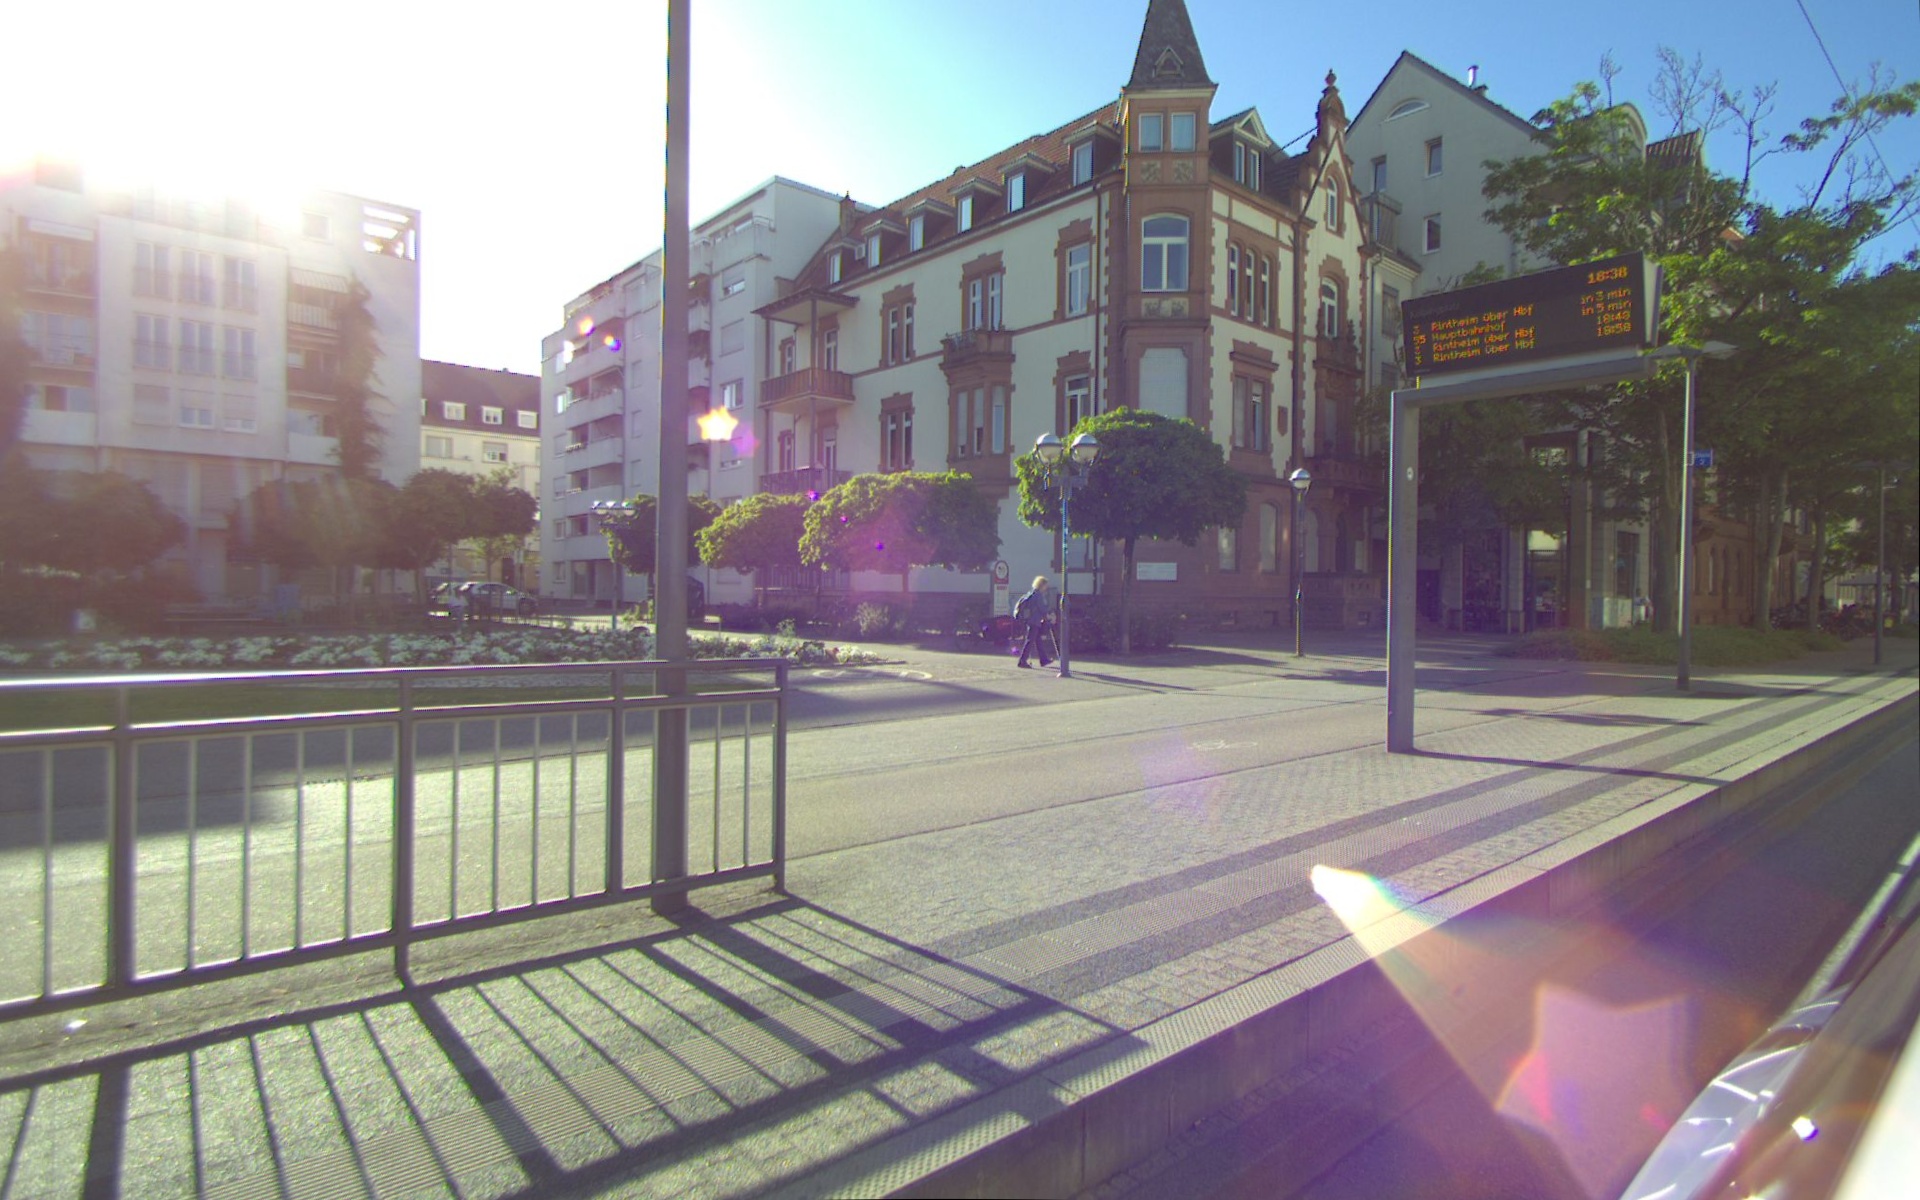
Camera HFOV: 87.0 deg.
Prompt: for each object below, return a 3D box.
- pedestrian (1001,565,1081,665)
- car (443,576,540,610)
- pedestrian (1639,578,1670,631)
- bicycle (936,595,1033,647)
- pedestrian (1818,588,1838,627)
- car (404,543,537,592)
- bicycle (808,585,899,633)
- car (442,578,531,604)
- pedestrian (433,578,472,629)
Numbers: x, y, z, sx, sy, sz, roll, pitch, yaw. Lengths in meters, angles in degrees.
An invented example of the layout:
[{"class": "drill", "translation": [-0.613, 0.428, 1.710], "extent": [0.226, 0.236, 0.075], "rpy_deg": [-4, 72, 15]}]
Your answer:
[{"class": "pedestrian", "translation": [1.429, 0.248, 17.805], "extent": [1.064, 1.689, 0.944], "rpy_deg": [1, 0, 37]}, {"class": "car", "translation": [-22.243, -0.346, 48.032], "extent": [3.923, 1.536, 2.001], "rpy_deg": [0, 1, -34]}, {"class": "pedestrian", "translation": [23.590, 0.145, 34.381], "extent": [0.740, 1.757, 0.864], "rpy_deg": [1, 0, 43]}, {"class": "bicycle", "translation": [0.623, 0.459, 24.093], "extent": [0.786, 1.081, 2.767], "rpy_deg": [1, 2, 40]}, {"class": "pedestrian", "translation": [45.165, 0.384, 52.658], "extent": [0.549, 2.039, 0.654], "rpy_deg": [0, 0, -38]}, {"class": "car", "translation": [-27.875, -1.800, 57.761], "extent": [2.807, 2.587, 6.294], "rpy_deg": [1, 1, 45]}, {"class": "bicycle", "translation": [-3.234, 0.258, 30.922], "extent": [2.864, 1.389, 0.745], "rpy_deg": [0, 1, -41]}, {"class": "car", "translation": [-24.587, -0.464, 52.532], "extent": [3.923, 1.304, 2.001], "rpy_deg": [0, 1, -34]}, {"class": "pedestrian", "translation": [-14.748, 0.092, 29.386], "extent": [0.917, 1.429, 1.529], "rpy_deg": [0, 1, -30]}]
